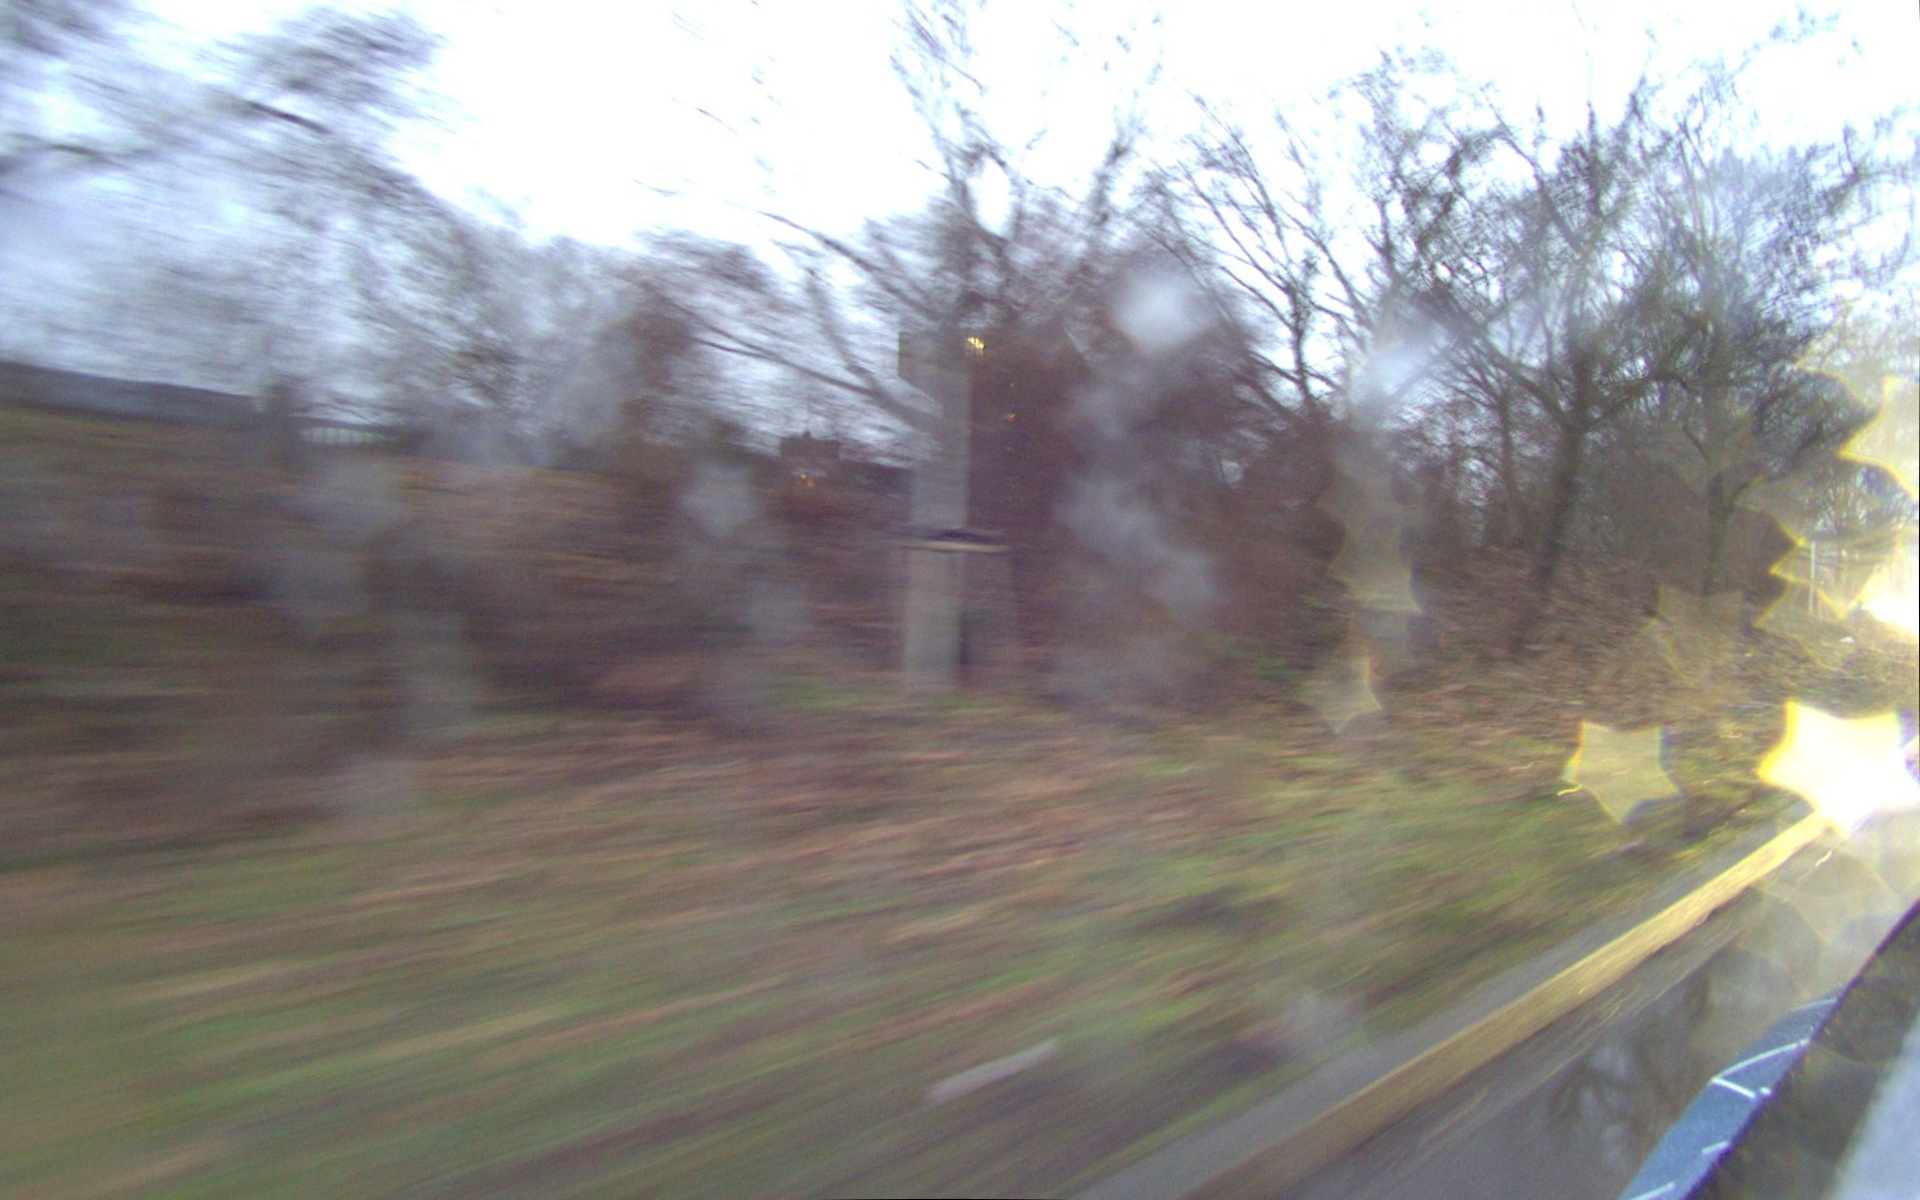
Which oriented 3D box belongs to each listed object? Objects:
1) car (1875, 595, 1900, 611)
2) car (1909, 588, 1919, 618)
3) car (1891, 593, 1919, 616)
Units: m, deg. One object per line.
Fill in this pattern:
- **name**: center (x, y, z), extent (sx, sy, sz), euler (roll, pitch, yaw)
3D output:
- **car**: center (103.096, 0.333, 112.486), extent (1.947, 1.619, 4.062), euler (2, 1, 42)
- **car**: center (53.501, 0.187, 55.445), extent (4.056, 1.619, 1.950), euler (0, 1, -44)
- **car**: center (69.831, 0.291, 74.297), extent (4.056, 1.619, 1.950), euler (0, 1, -44)
